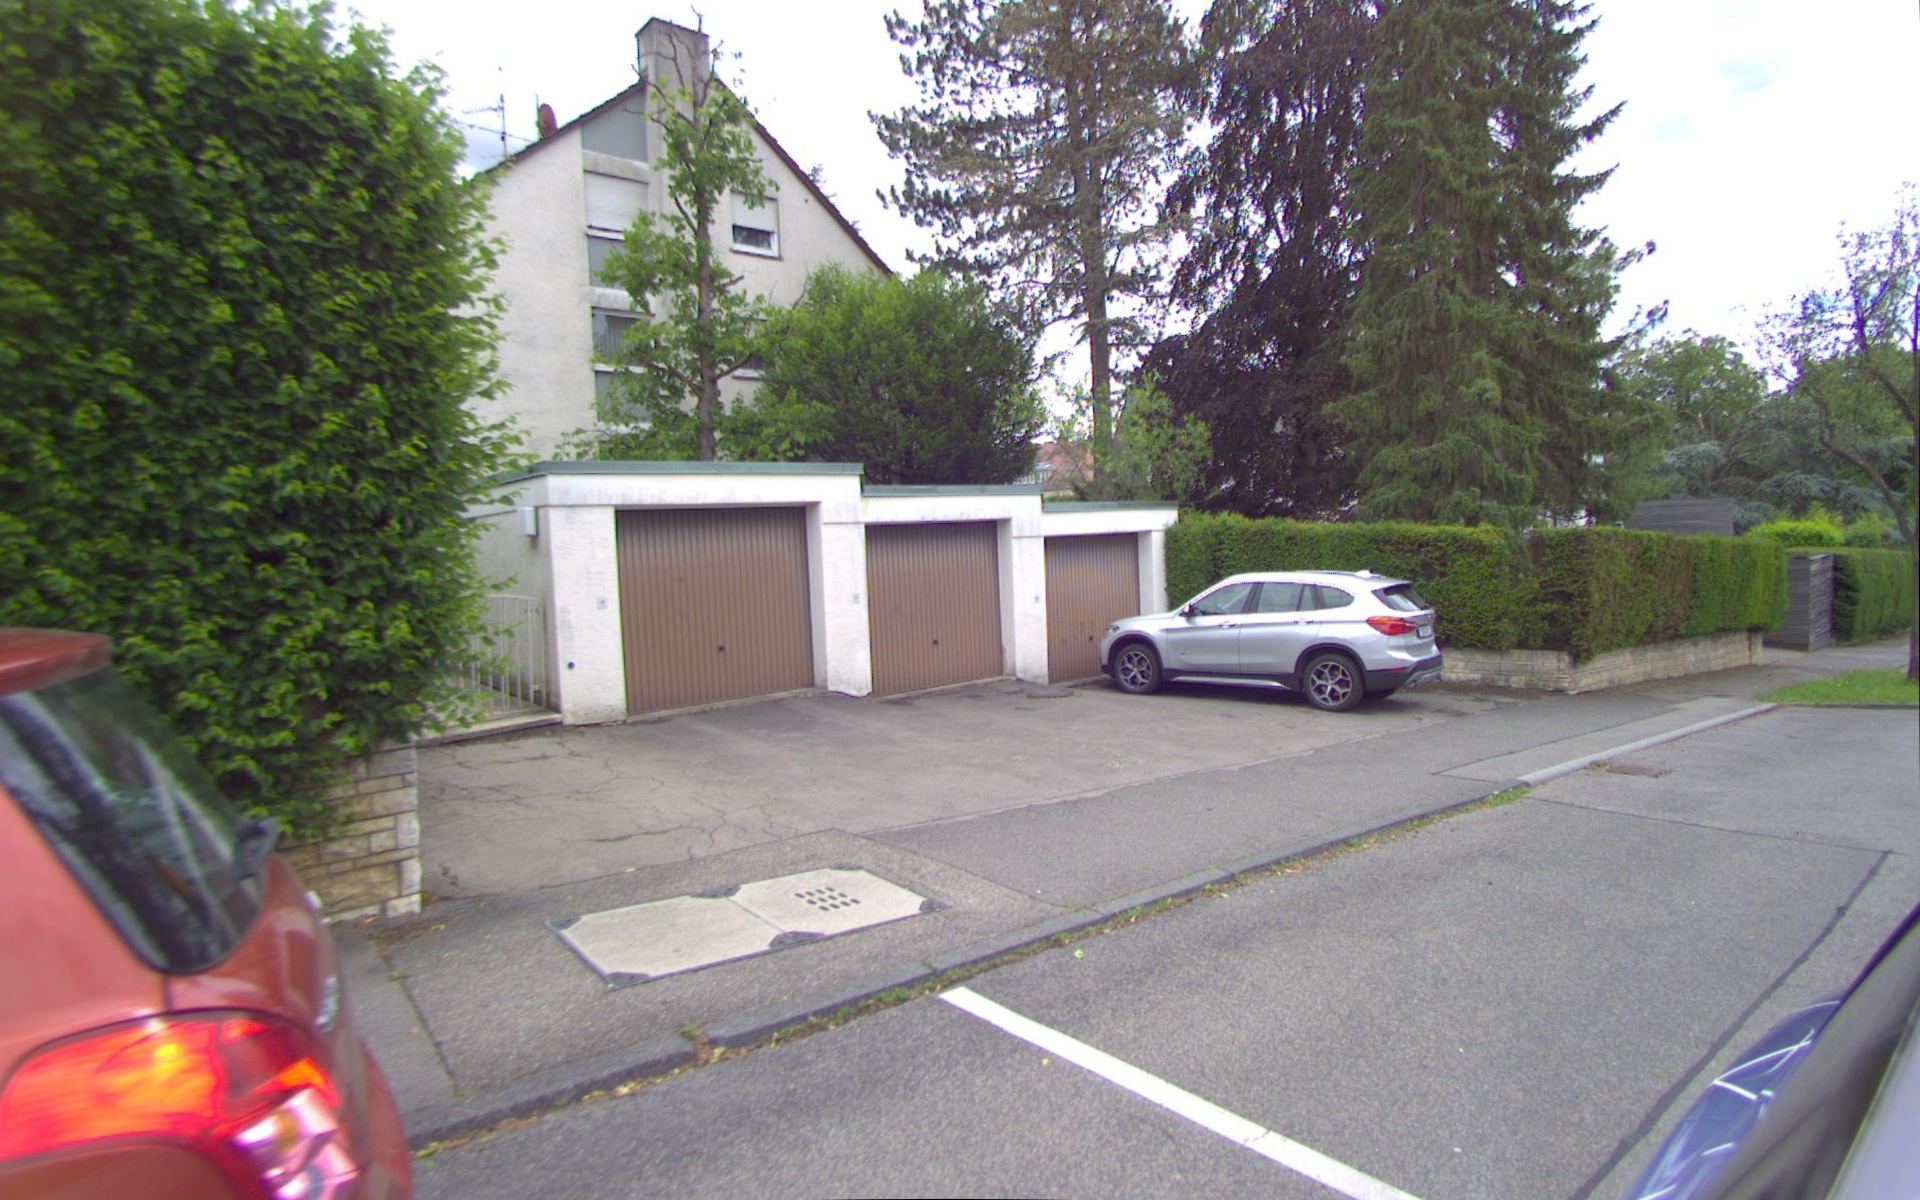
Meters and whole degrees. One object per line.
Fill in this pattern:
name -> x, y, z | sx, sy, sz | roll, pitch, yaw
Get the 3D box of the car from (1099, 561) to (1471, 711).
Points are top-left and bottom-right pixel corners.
car -> 4.079, 0.330, 13.110 | 4.204, 1.619, 1.854 | 2, 2, 41

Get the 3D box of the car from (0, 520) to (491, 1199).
car -> -2.470, 0.683, 0.589 | 3.692, 1.527, 1.664 | 0, 1, -40
